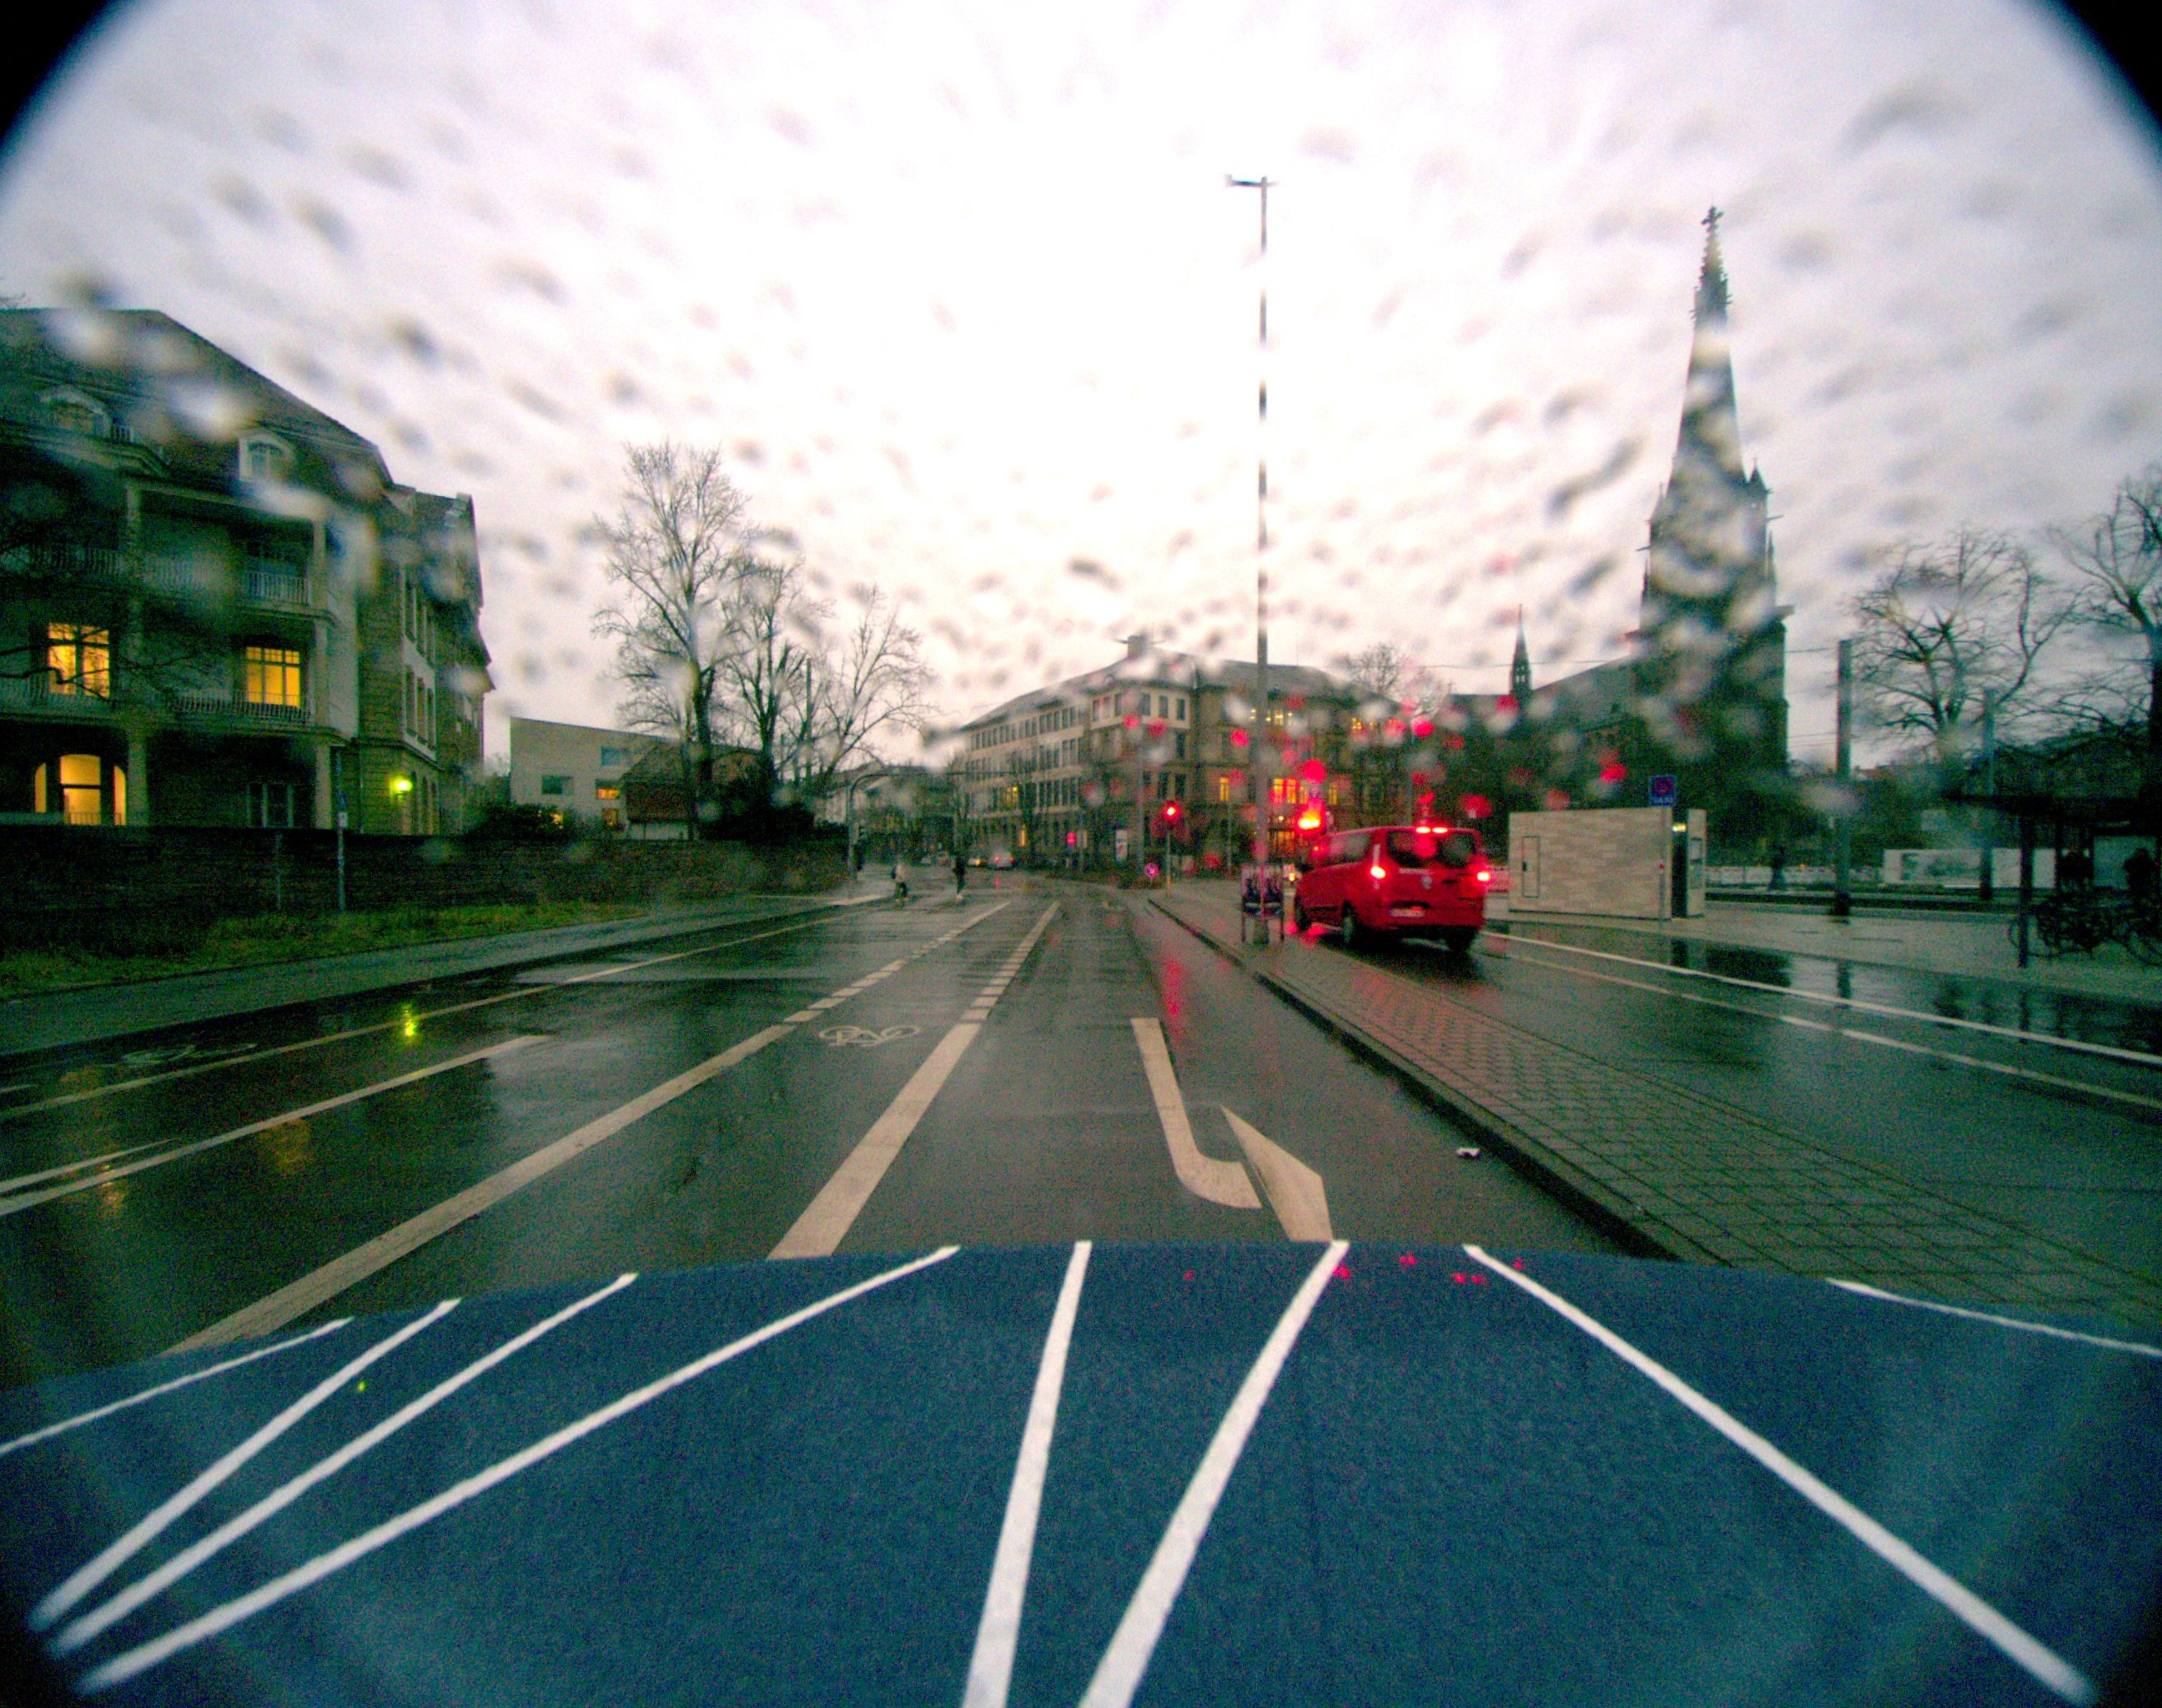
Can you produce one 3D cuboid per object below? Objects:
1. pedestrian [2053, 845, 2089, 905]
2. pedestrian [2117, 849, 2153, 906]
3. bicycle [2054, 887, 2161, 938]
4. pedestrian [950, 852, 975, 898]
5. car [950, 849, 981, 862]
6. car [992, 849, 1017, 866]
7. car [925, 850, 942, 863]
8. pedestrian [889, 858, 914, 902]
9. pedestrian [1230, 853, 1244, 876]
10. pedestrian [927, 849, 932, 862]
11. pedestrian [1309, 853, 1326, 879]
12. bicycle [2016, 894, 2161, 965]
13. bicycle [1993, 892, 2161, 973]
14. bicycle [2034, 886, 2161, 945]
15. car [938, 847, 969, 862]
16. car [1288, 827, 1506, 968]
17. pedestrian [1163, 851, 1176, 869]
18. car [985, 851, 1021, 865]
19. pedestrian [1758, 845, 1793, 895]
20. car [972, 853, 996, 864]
[{"bbox_3d":[30.238,0.639,23.217,0.673,1.785,0.626,-3,2,-41],"label":"pedestrian"},{"bbox_3d":[31.051,0.689,22.389,0.541,1.642,0.562,-3,2,-41],"label":"pedestrian"},{"bbox_3d":[20.850,1.158,15.019,0.475,0.905,1.921,-2,2,-30],"label":"bicycle"},{"bbox_3d":[-4.925,0.883,31.683,1.000,1.890,0.673,1,1,-8],"label":"pedestrian"},{"bbox_3d":[-15.089,0.200,99.408,1.797,1.541,4.007,-2,1,28],"label":"car"},{"bbox_3d":[-8.454,0.370,83.644,1.885,1.835,3.993,-3,1,-18],"label":"car"},{"bbox_3d":[-20.734,0.372,106.848,2.000,1.660,3.997,-2,1,-7],"label":"car"},{"bbox_3d":[-7.086,1.032,30.048,0.798,1.713,0.674,1,1,0],"label":"pedestrian"},{"bbox_3d":[12.718,0.862,61.960,0.675,1.806,0.895,0,2,-42],"label":"pedestrian"},{"bbox_3d":[-22.846,0.228,114.485,0.476,2.002,0.546,0,1,-34],"label":"pedestrian"},{"bbox_3d":[17.553,0.887,56.372,0.675,1.890,0.971,0,1,-39],"label":"pedestrian"},{"bbox_3d":[16.620,1.210,12.218,0.475,0.980,1.921,-2,2,-30],"label":"bicycle"},{"bbox_3d":[15.501,1.177,11.613,0.475,1.064,1.921,-2,2,-30],"label":"bicycle"},{"bbox_3d":[19.694,1.166,14.430,0.475,0.980,1.921,-2,2,-30],"label":"bicycle"},{"bbox_3d":[-16.994,0.076,101.473,2.043,1.889,4.007,-2,1,28],"label":"car"},{"bbox_3d":[5.323,0.641,13.603,1.929,2.058,4.643,1,0,0],"label":"car"},{"bbox_3d":[8.472,0.535,72.547,0.829,1.714,0.926,0,0,-37],"label":"pedestrian"},{"bbox_3d":[-9.278,0.481,90.538,1.797,1.541,4.007,-1,1,45],"label":"car"},{"bbox_3d":[25.884,0.590,28.329,0.671,1.785,0.825,-3,1,-35],"label":"pedestrian"},{"bbox_3d":[-12.133,0.575,95.309,1.706,1.298,3.647,-2,1,16],"label":"car"}]
